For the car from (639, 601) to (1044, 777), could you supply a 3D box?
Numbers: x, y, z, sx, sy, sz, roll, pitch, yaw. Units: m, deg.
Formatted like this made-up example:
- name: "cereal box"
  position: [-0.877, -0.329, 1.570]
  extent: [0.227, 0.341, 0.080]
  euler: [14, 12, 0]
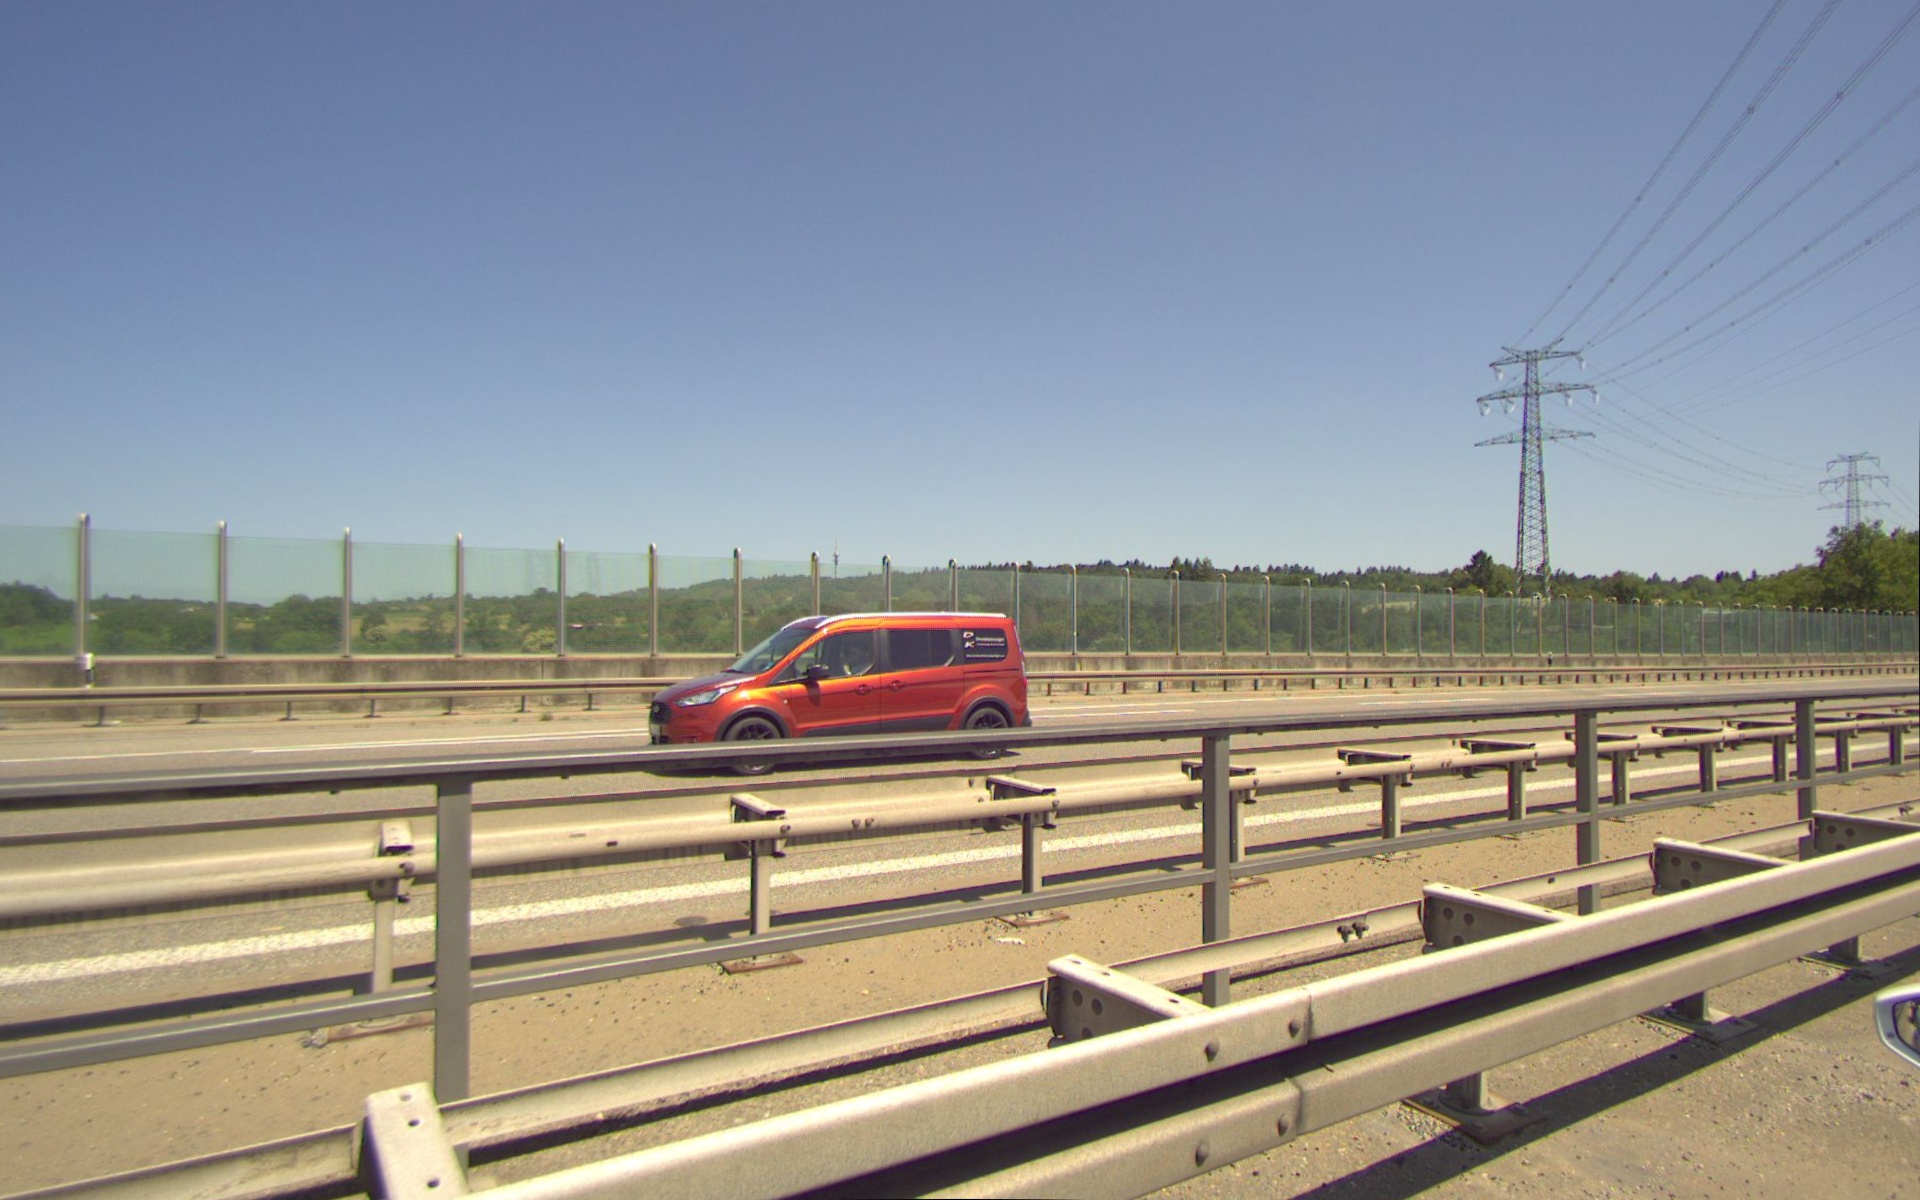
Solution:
- name: "car"
  position: [-1.390, 1.037, 12.558]
  extent: [4.694, 1.846, 1.830]
  euler: [2, -2, -31]
